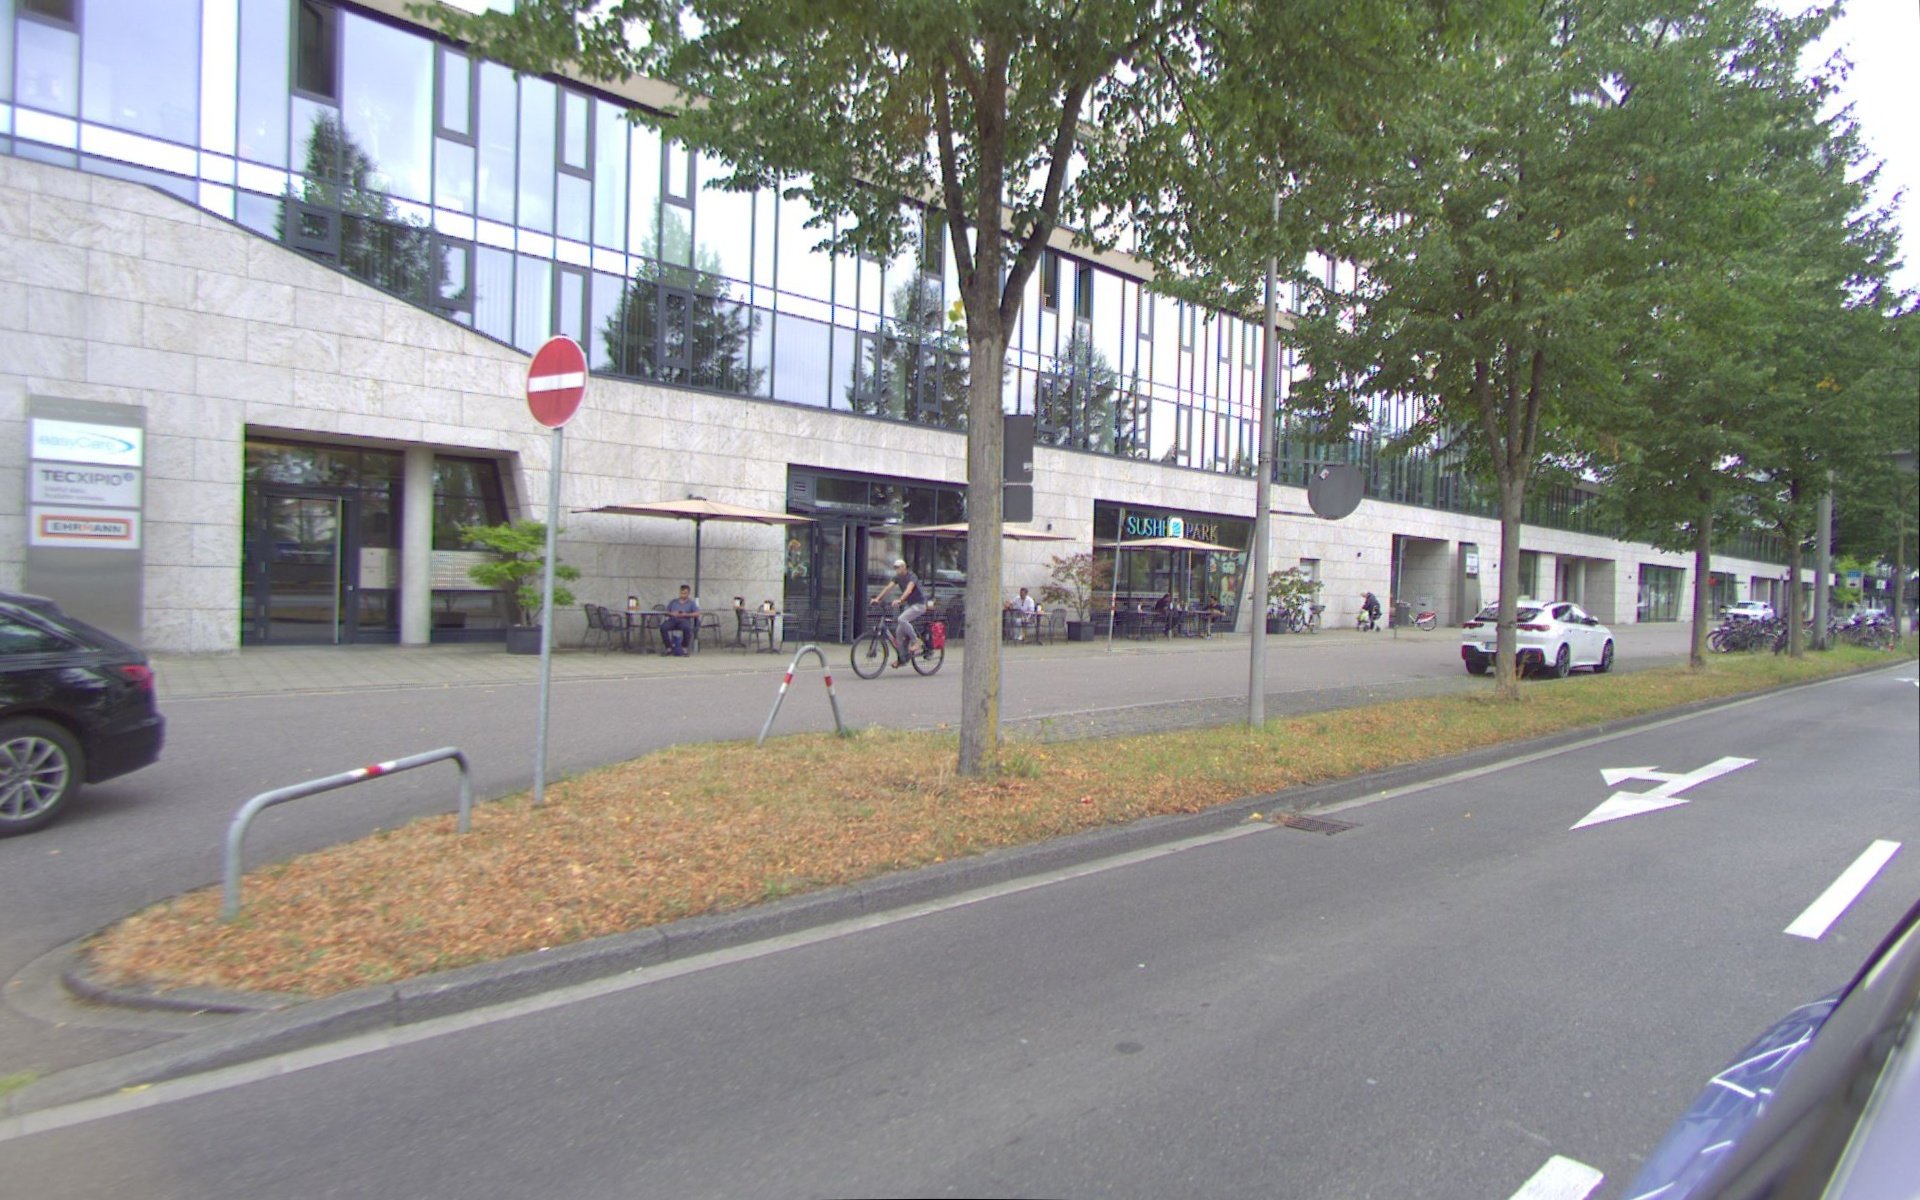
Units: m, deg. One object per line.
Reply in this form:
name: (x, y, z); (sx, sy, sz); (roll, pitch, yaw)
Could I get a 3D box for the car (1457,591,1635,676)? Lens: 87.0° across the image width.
car: (12.525, 0.650, 21.522); (4.513, 1.571, 1.941); (1, 1, -42)

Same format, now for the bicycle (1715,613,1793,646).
bicycle: (24.884, 0.917, 31.743); (0.564, 1.008, 1.862); (1, -2, -43)

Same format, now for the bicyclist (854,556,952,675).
bicyclist: (-0.908, 0.221, 16.129); (1.110, 1.758, 0.999); (1, 4, -42)

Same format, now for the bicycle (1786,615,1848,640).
bicycle: (31.785, 1.010, 37.549); (1.713, 0.917, 0.580); (-2, -2, 42)

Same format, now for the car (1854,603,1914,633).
car: (46.983, 0.882, 51.417); (4.109, 1.439, 1.764); (1, 1, -41)

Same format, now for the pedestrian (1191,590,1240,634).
pedestrian: (7.286, 0.335, 28.910); (1.083, 1.207, 0.776); (1, 1, -25)

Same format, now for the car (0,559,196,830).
car: (-6.557, 0.522, 4.563); (1.919, 1.494, 4.849); (2, 1, 14)

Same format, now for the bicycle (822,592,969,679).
bicycle: (-1.002, 0.534, 16.164); (2.229, 1.250, 0.904); (1, 3, -42)

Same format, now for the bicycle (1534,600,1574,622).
bicycle: (27.837, 0.519, 47.449); (0.524, 0.965, 1.531); (1, 2, -43)

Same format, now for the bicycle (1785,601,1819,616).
bicycle: (72.831, 0.706, 87.540); (2.231, 1.191, 0.961); (2, 1, 43)

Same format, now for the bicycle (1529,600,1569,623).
bicycle: (27.382, 0.521, 47.066); (0.524, 0.965, 1.531); (1, 2, -43)

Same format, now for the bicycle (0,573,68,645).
bicycle: (-12.694, 0.116, 13.270); (1.466, 0.921, 0.519); (1, 1, -41)

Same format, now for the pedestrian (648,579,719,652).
pedestrian: (-4.899, 0.260, 17.916); (0.932, 1.243, 0.901); (1, 1, -36)

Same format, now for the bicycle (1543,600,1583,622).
bicycle: (28.889, 0.526, 48.487); (0.524, 0.965, 1.531); (1, 2, -43)

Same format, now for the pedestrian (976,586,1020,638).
pedestrian: (0.922, 0.276, 24.443); (0.745, 1.207, 0.720); (1, 1, -41)

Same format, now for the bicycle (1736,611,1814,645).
bicycle: (27.011, 0.928, 33.562); (0.693, 1.079, 1.931); (1, -2, -43)

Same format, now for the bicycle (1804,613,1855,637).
bicycle: (35.267, 1.011, 41.049); (0.543, 0.965, 1.530); (1, -1, -43)

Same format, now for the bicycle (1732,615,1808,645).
bicycle: (26.491, 0.983, 33.122); (0.602, 0.963, 1.862); (1, -2, -43)

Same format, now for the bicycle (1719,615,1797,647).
bicycle: (25.361, 0.987, 32.191); (0.493, 0.963, 1.862); (1, -2, -43)

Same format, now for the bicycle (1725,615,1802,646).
bicycle: (25.921, 0.985, 32.669); (0.642, 0.963, 1.862); (1, -2, -43)

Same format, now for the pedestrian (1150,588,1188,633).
pedestrian: (5.893, 0.290, 28.549); (0.743, 1.207, 0.723); (1, 1, -18)

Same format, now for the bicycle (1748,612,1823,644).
bicycle: (28.133, 0.956, 34.502); (1.927, 1.079, 0.535); (-2, -2, 42)

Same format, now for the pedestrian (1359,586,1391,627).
pedestrian: (14.771, 0.226, 36.059); (0.707, 1.424, 0.759); (1, 1, -33)

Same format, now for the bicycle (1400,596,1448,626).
bicycle: (17.712, 0.413, 38.674); (1.585, 1.039, 0.606); (3, 2, 23)

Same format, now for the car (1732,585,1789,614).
car: (48.553, -0.034, 61.377); (4.165, 1.607, 1.862); (1, 4, -41)

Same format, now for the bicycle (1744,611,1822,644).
bicycle: (27.621, 0.925, 33.996); (0.631, 1.079, 1.931); (1, -2, -43)

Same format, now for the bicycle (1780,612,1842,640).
bicycle: (31.255, 0.963, 37.173); (1.713, 0.987, 0.600); (-2, -2, 42)

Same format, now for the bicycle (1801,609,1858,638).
bicycle: (34.283, 0.907, 39.920); (0.516, 1.104, 1.669); (1, -1, -43)

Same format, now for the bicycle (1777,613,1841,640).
bicycle: (30.797, 0.966, 36.726); (1.742, 0.987, 0.600); (-2, -2, 42)

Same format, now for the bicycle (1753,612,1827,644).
bicycle: (28.568, 0.956, 34.868); (1.927, 1.079, 0.535); (-2, -2, 42)

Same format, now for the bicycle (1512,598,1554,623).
bicycle: (25.915, 0.456, 45.771); (0.524, 1.039, 1.531); (1, 2, -43)

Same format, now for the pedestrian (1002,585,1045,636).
pedestrian: (1.560, 0.259, 24.984); (0.745, 1.207, 0.720); (1, 1, -39)

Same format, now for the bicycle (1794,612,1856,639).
bicycle: (33.212, 0.977, 38.869); (1.770, 1.025, 0.601); (-2, -2, 42)

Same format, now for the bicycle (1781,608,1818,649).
bicycle: (23.866, 0.799, 28.756); (0.709, 1.130, 2.170); (-2, -2, 41)
